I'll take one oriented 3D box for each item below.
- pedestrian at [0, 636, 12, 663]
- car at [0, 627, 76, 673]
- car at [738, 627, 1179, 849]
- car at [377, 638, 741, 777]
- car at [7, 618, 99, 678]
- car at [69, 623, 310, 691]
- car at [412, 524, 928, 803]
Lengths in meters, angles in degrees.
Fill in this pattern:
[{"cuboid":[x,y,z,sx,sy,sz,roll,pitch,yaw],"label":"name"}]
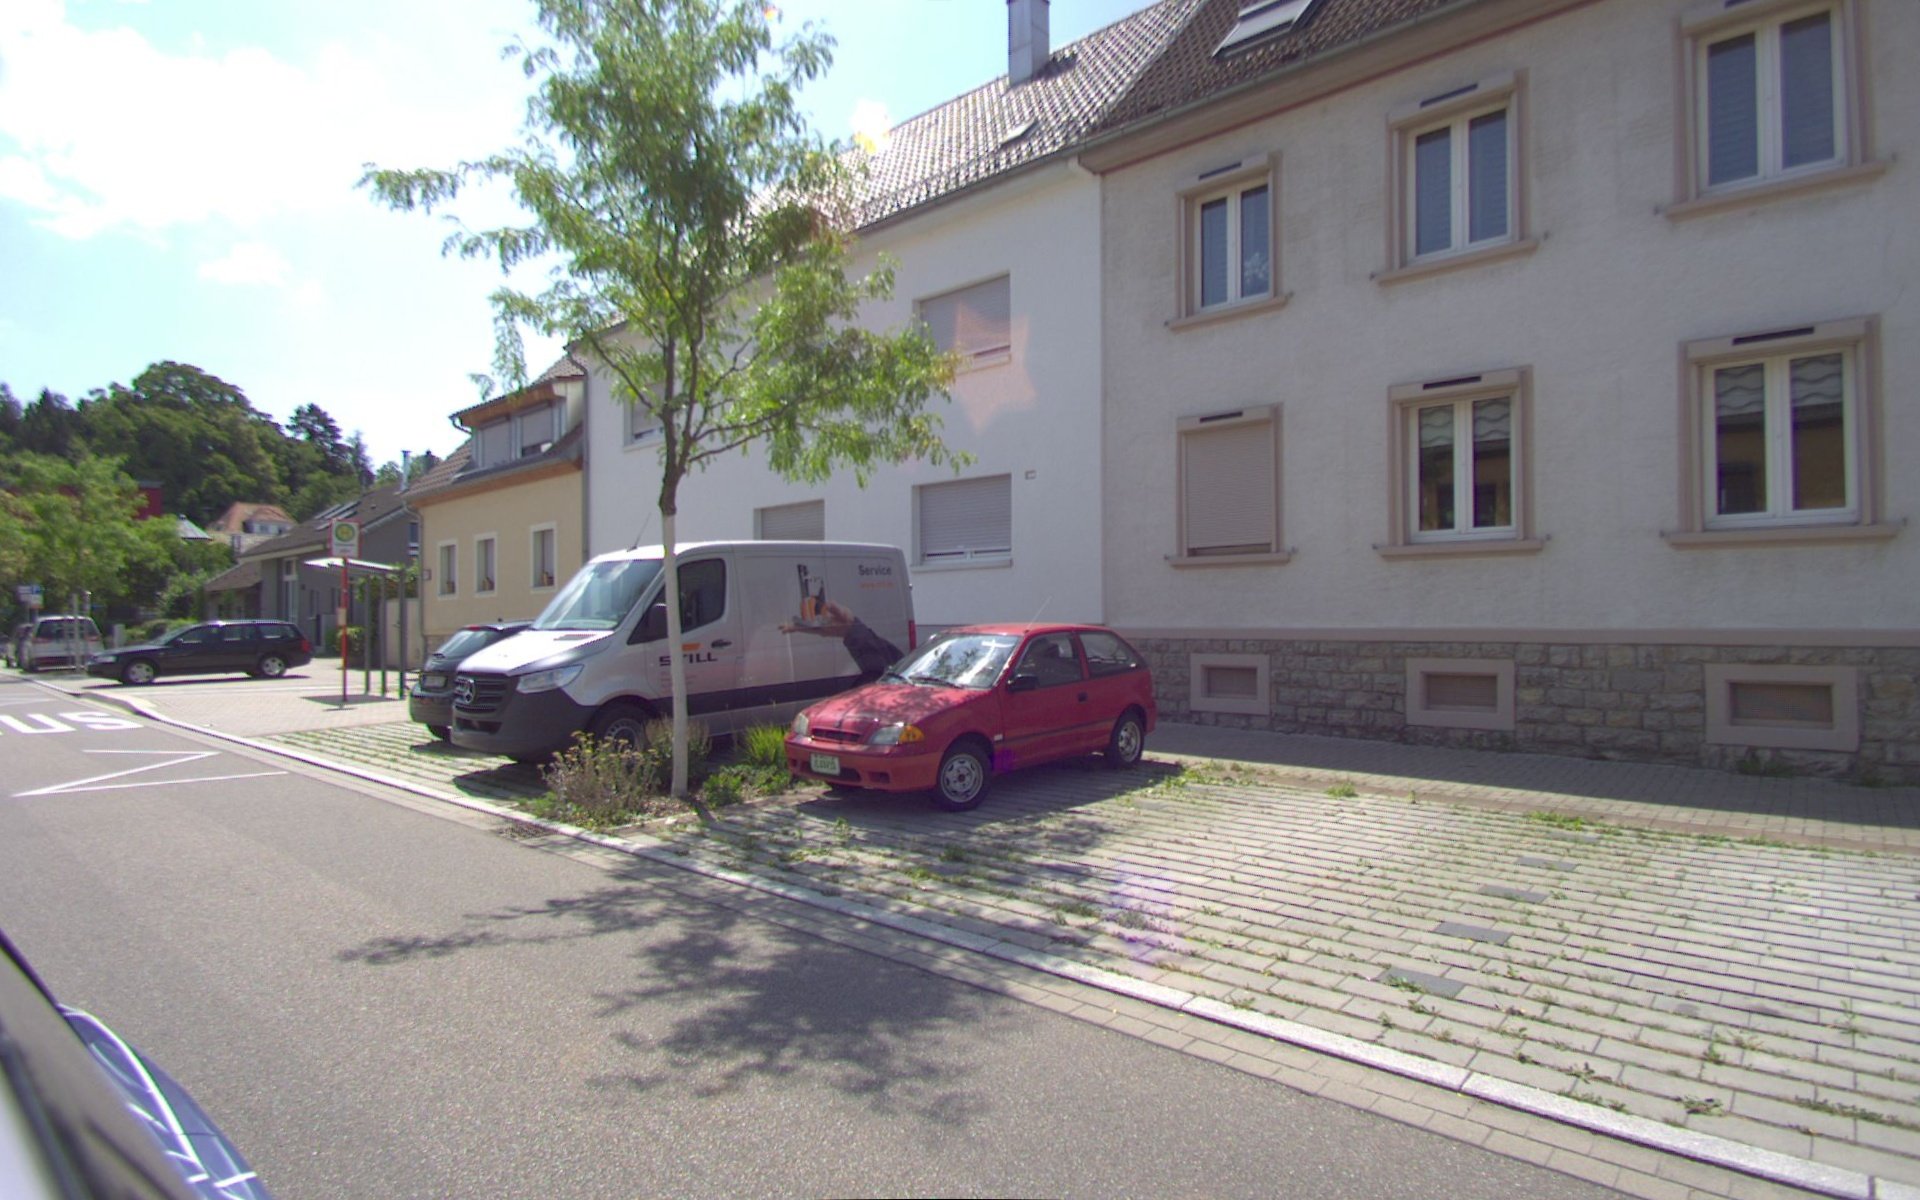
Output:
[{"cuboid":[-42.718,2.206,44.897,0.884,1.150,0.806,-1,-1,38],"label":"pedestrian"},{"cuboid":[-33.235,1.789,36.354,3.906,1.536,1.705,-3,-2,41],"label":"car"},{"cuboid":[0.165,0.959,8.662,1.725,1.396,3.742,-1,-1,42],"label":"car"},{"cuboid":[-4.992,1.238,13.033,1.899,1.457,3.947,-2,-2,39],"label":"car"},{"cuboid":[-28.985,1.530,32.300,4.686,1.761,1.819,-3,-2,43],"label":"car"},{"cuboid":[-19.215,1.367,25.402,1.901,1.528,4.538,-2,-2,41],"label":"car"},{"cuboid":[-2.847,0.555,11.049,2.155,2.305,5.114,-2,-1,39],"label":"car"}]
